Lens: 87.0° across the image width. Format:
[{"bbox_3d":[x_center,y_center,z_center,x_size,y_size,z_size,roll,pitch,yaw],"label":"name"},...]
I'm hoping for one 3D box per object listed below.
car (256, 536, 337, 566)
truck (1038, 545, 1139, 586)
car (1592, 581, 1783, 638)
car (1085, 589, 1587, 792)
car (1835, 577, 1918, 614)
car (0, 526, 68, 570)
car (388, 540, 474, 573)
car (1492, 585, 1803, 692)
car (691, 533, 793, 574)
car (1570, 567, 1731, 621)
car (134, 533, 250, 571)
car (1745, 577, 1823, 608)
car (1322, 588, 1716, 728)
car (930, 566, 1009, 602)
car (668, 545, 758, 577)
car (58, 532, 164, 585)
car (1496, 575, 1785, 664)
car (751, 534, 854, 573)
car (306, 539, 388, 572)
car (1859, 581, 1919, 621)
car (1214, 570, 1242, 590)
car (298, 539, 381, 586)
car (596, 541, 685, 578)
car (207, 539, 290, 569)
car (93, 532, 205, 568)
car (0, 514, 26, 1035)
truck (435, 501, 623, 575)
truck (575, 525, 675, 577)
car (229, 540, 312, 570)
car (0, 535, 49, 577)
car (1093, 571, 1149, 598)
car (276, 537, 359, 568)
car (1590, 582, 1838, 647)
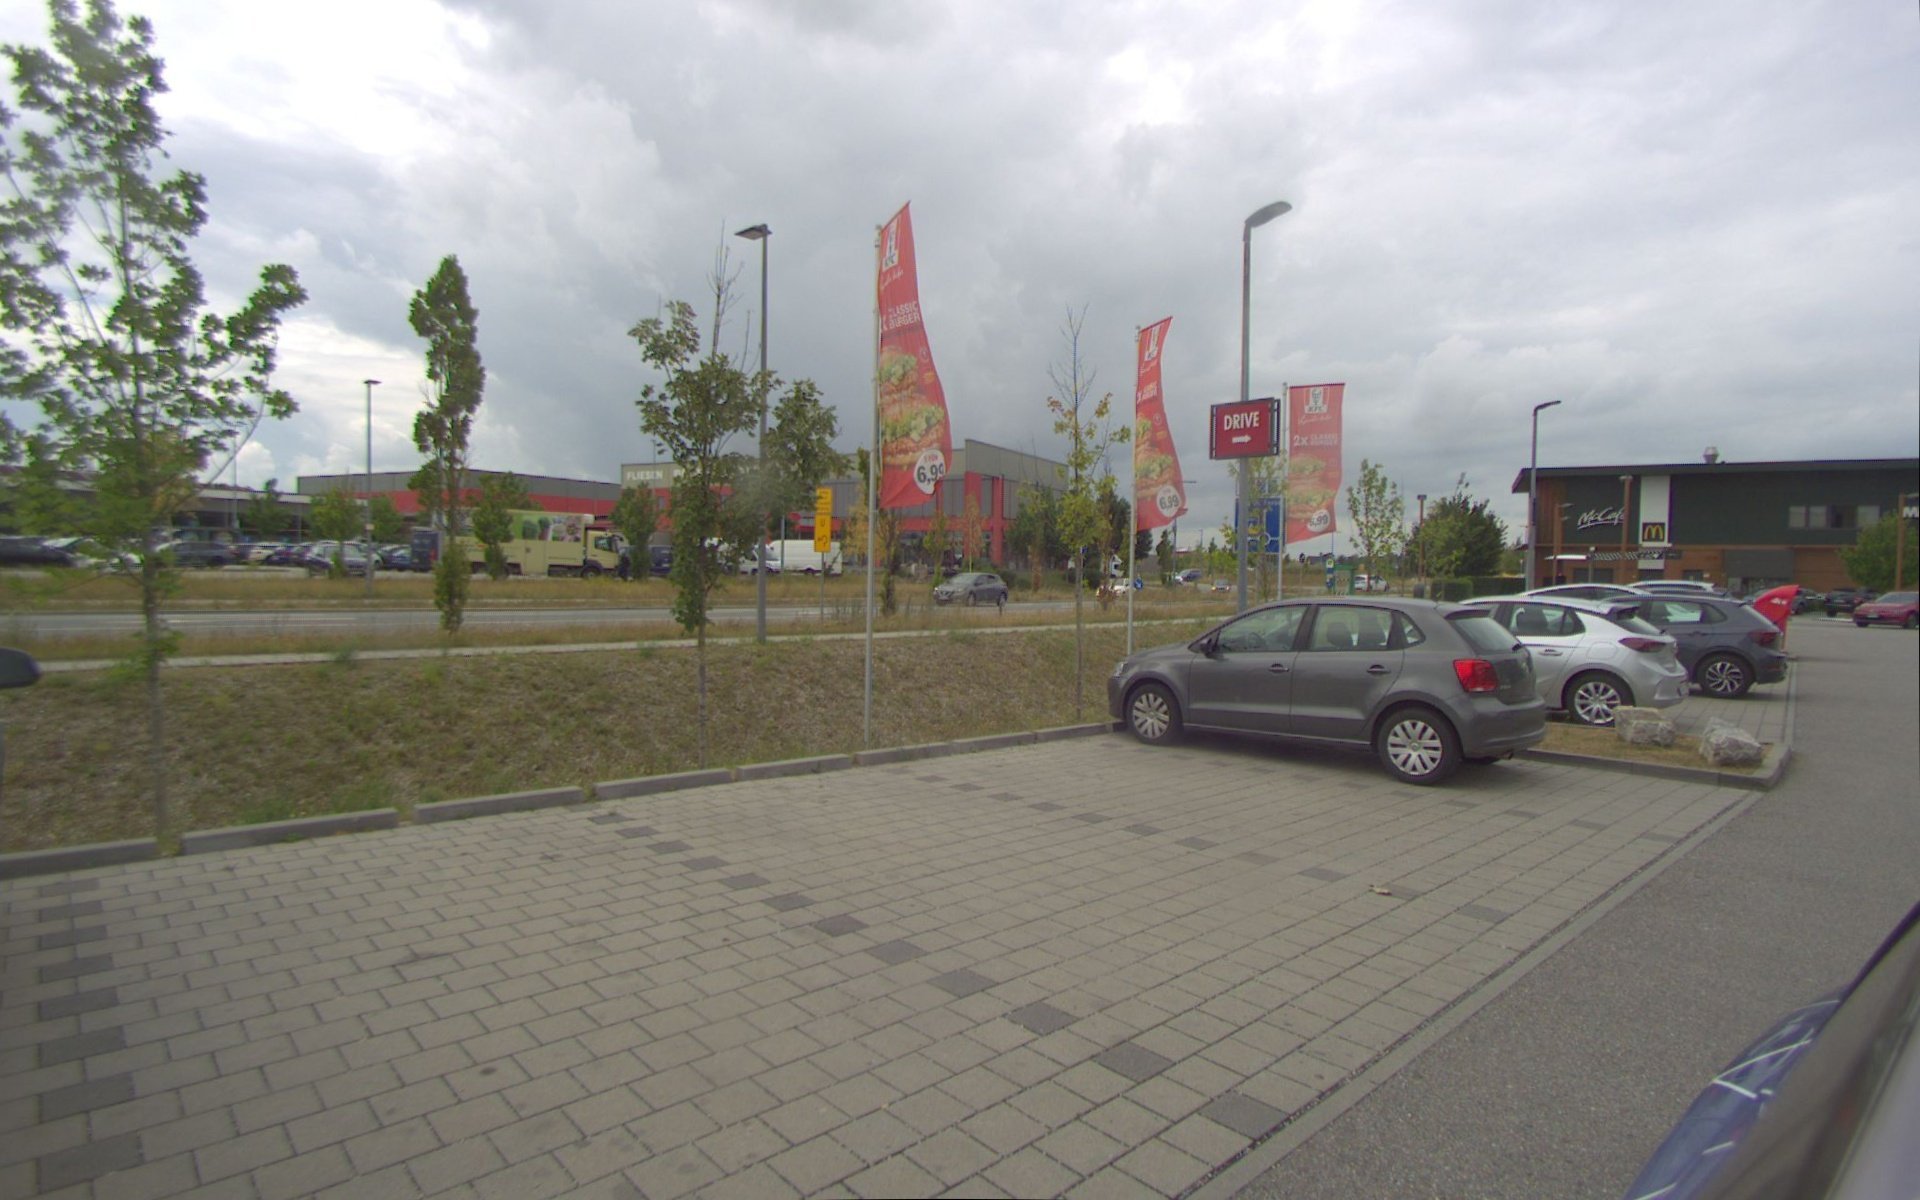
[{"bbox_3d":[-43.035,-3.145,65.670,1.984,1.793,3.957,3,3,31],"label":"car"},{"bbox_3d":[15.775,-4.371,125.035,11.922,4.553,3.721,4,3,35],"label":"truck"},{"bbox_3d":[19.555,0.238,27.451,4.039,1.430,1.867,0,0,32],"label":"car"},{"bbox_3d":[3.226,0.623,9.256,1.699,1.446,3.991,0,1,-43],"label":"car"},{"bbox_3d":[50.152,-0.260,55.402,3.917,1.771,2.004,2,2,-27],"label":"car"},{"bbox_3d":[-41.899,-2.285,44.114,1.985,1.860,4.139,3,3,32],"label":"car"},{"bbox_3d":[-30.847,-2.508,59.137,1.981,1.793,4.105,3,3,26],"label":"car"},{"bbox_3d":[10.432,0.508,15.487,3.791,1.430,1.713,0,1,41],"label":"car"},{"bbox_3d":[-13.259,-2.823,61.415,6.009,2.241,2.391,4,2,30],"label":"car"},{"bbox_3d":[23.116,-0.205,34.112,4.338,1.734,1.970,0,0,32],"label":"car"},{"bbox_3d":[-38.818,-2.427,51.267,1.983,1.793,4.277,3,3,29],"label":"car"},{"bbox_3d":[46.942,-0.406,57.658,3.823,1.603,1.755,1,3,-23],"label":"car"},{"bbox_3d":[6.739,0.586,12.440,3.926,1.430,1.811,0,1,44],"label":"car"},{"bbox_3d":[0.483,-0.719,46.006,1.741,1.510,4.085,2,1,30],"label":"car"},{"bbox_3d":[-14.328,-2.259,58.682,5.028,1.659,2.056,4,2,30],"label":"car"},{"bbox_3d":[-31.546,-1.566,37.565,4.294,1.793,1.975,4,3,35],"label":"car"},{"bbox_3d":[13.204,0.328,19.831,4.522,1.560,1.899,0,1,39],"label":"car"},{"bbox_3d":[-10.168,-3.000,65.267,6.446,2.295,2.323,3,3,28],"label":"car"},{"bbox_3d":[-34.961,-2.543,57.851,1.967,1.793,3.992,2,3,8],"label":"car"},{"bbox_3d":[36.701,0.051,38.744,3.915,1.482,1.691,1,1,-19],"label":"car"},{"bbox_3d":[24.686,-1.861,93.183,1.976,1.726,3.974,2,3,21],"label":"car"},{"bbox_3d":[-26.395,-1.616,43.002,4.307,1.793,1.902,4,4,43],"label":"car"},{"bbox_3d":[-17.410,-2.209,55.020,5.038,1.908,2.051,2,1,36],"label":"car"},{"bbox_3d":[-48.041,-3.113,68.396,1.985,1.860,4.139,3,3,32],"label":"car"},{"bbox_3d":[-43.328,-2.657,54.145,1.984,1.793,4.274,3,3,31],"label":"car"},{"bbox_3d":[-3.459,0.535,2.306,1.832,1.563,4.209,0,2,-41],"label":"car"},{"bbox_3d":[-21.111,-3.024,49.970,8.255,3.235,3.037,1,3,-23],"label":"truck"},{"bbox_3d":[-26.444,-3.899,79.714,8.183,3.789,2.630,3,3,29],"label":"truck"},{"bbox_3d":[-45.604,-2.955,67.020,1.985,1.860,4.140,3,3,31],"label":"car"},{"bbox_3d":[-44.015,-1.994,45.550,1.985,1.860,4.139,3,3,32],"label":"car"},{"bbox_3d":[9.829,-0.937,61.504,1.744,1.510,4.077,2,1,35],"label":"car"},{"bbox_3d":[-40.629,-2.983,64.080,1.985,1.793,3.956,3,3,31],"label":"car"},{"bbox_3d":[18.316,0.321,24.930,4.705,1.475,1.890,0,0,32],"label":"car"}]
